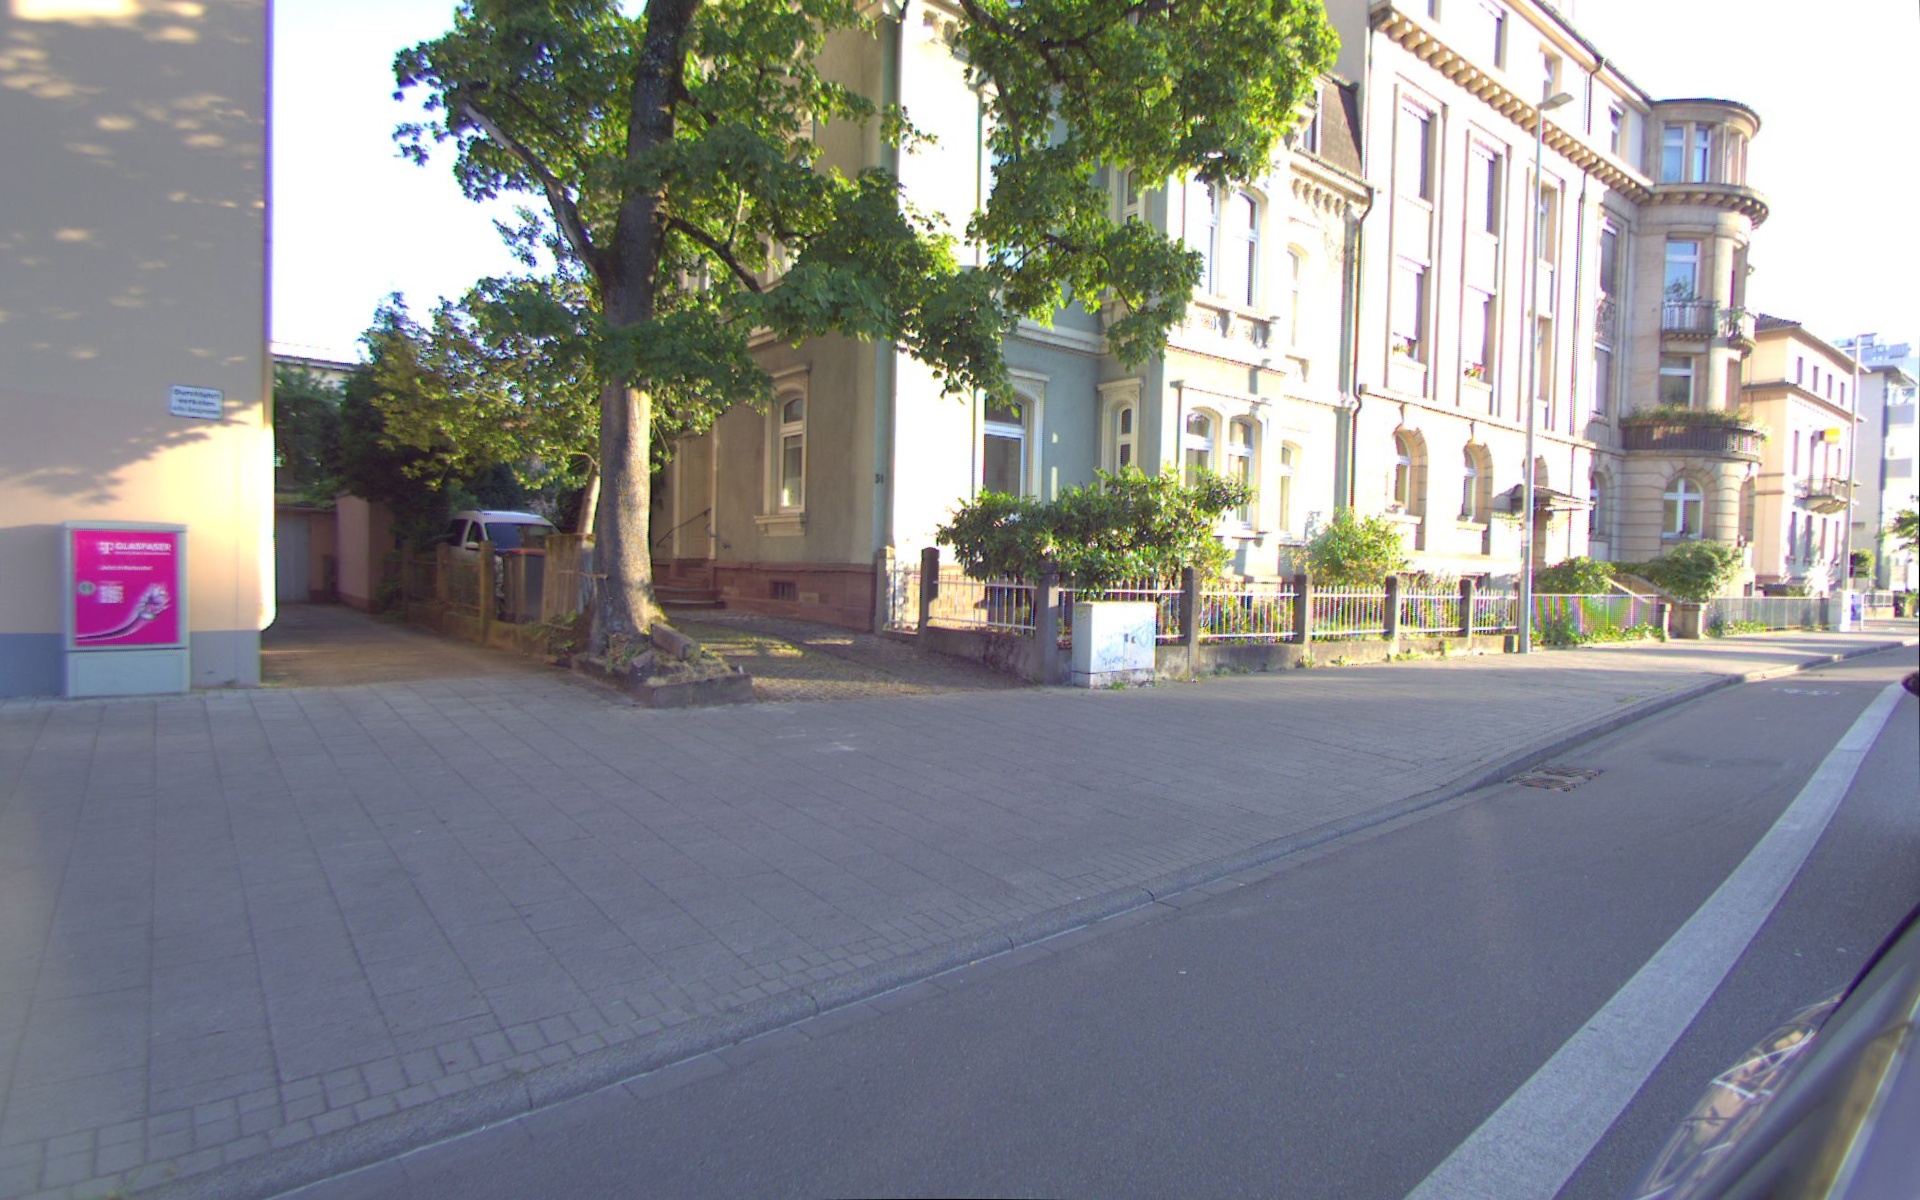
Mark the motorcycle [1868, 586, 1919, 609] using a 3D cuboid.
[{"bbox_3d":[48.294,-0.129,52.348,0.564,1.110,1.851,0,1,-33],"label":"motorcycle"}]

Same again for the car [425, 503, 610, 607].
[{"bbox_3d":[-8.656,-0.922,19.575,1.795,1.778,4.513,1,3,-44],"label":"car"}]

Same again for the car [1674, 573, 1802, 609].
[{"bbox_3d":[34.037,-0.420,44.338,1.903,1.499,4.098,0,2,-38],"label":"car"}]
